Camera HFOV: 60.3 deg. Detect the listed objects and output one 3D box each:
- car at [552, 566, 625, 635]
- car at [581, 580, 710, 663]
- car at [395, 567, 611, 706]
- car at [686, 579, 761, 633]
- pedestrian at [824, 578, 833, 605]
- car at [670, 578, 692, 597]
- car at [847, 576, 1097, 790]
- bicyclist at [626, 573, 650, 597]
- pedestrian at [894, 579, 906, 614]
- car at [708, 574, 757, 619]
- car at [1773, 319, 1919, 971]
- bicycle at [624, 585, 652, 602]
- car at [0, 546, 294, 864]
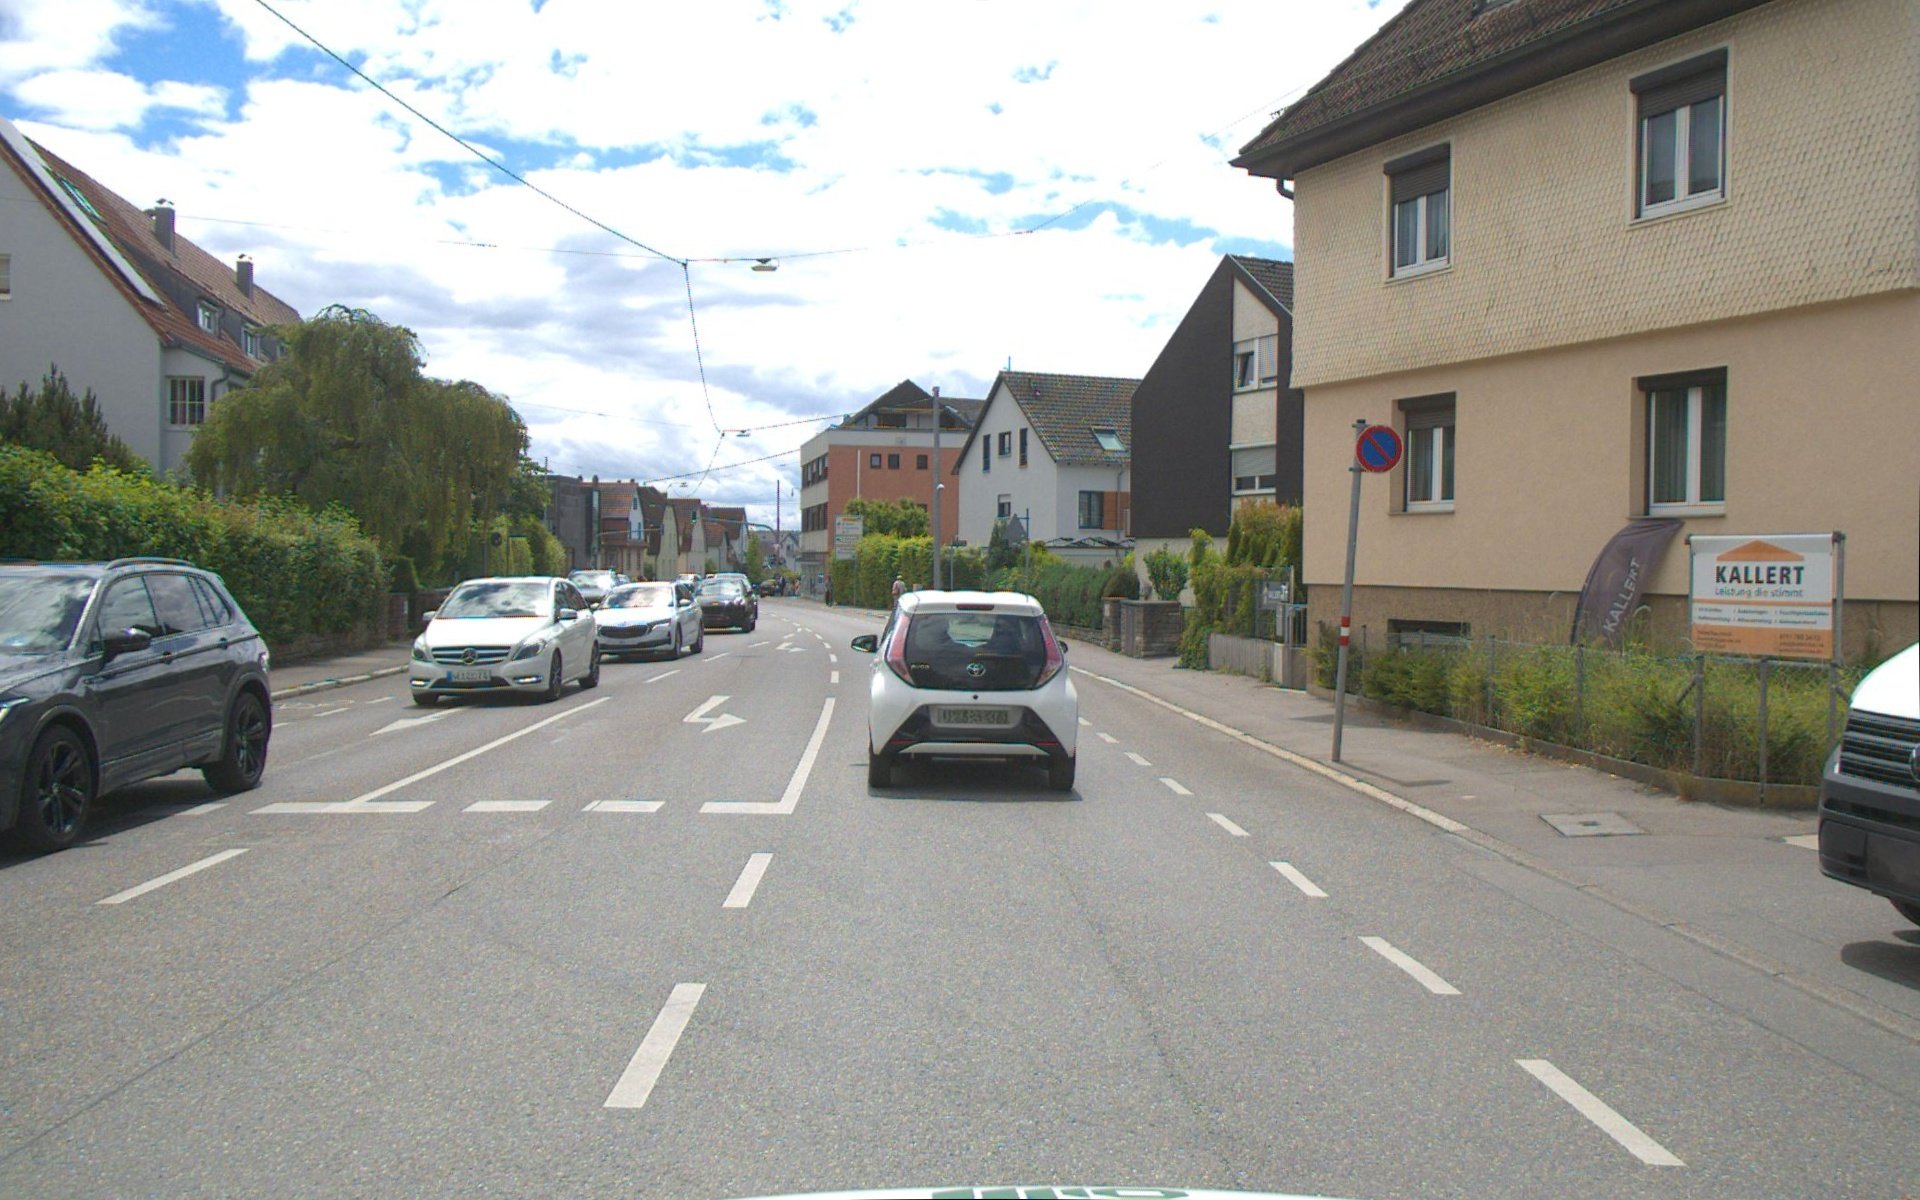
[{"bbox_3d":[-10.908,0.001,48.815,1.742,1.878,4.001,-2,1,-8],"label":"car"},{"bbox_3d":[-6.090,0.377,32.539,1.739,1.455,4.521,-2,1,-2],"label":"car"},{"bbox_3d":[-5.885,0.413,21.787,1.739,1.589,4.168,-2,1,-2],"label":"car"},{"bbox_3d":[-6.672,0.147,46.949,1.739,1.455,4.007,0,0,-3],"label":"car"},{"bbox_3d":[-7.147,-0.475,89.734,0.405,1.463,0.437,1,1,-10],"label":"pedestrian"},{"bbox_3d":[-26.698,-1.174,158.190,1.957,1.713,3.992,2,0,-9],"label":"car"},{"bbox_3d":[-0.040,0.579,13.961,1.590,1.512,3.994,1,1,-7],"label":"car"},{"bbox_3d":[-19.051,-0.907,97.795,1.098,1.359,1.623,-2,1,-19],"label":"bicyclist"},{"bbox_3d":[-2.587,-0.149,70.871,0.406,1.463,0.436,1,1,-14],"label":"pedestrian"},{"bbox_3d":[-8.618,-0.135,62.618,1.742,1.579,4.001,-2,1,-8],"label":"car"},{"bbox_3d":[6.779,0.217,7.106,5.889,2.626,1.995,1,1,-12],"label":"car"},{"bbox_3d":[-19.032,-0.379,97.752,1.098,0.953,3.767,-2,1,-19],"label":"bicycle"},{"bbox_3d":[-5.854,0.538,10.358,1.739,1.631,4.168,-1,1,-2],"label":"car"}]
